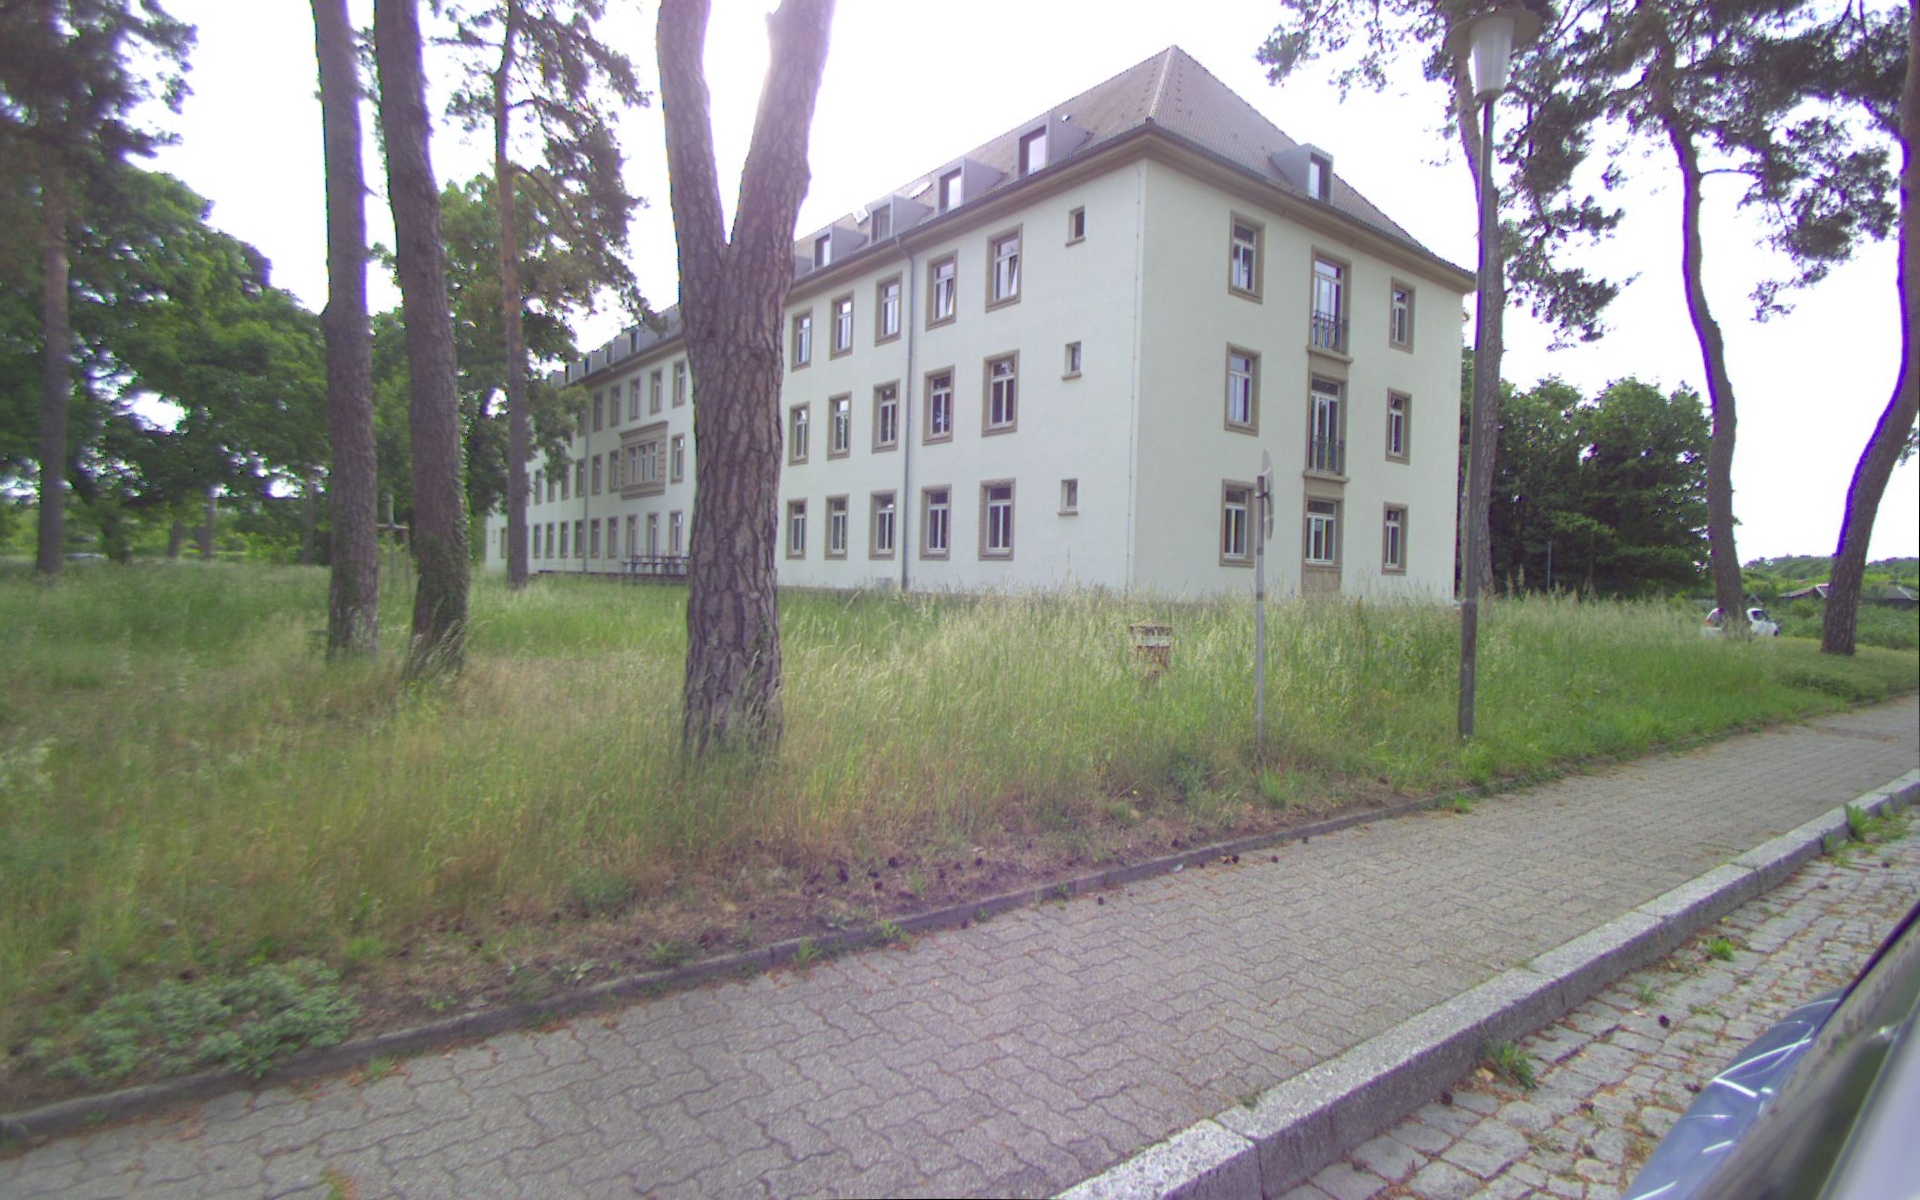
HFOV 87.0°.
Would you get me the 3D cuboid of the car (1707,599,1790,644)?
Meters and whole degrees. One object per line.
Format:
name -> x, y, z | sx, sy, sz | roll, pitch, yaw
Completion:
car -> 29.057, 0.765, 37.277 | 3.219, 1.451, 1.641 | -2, 3, -38
